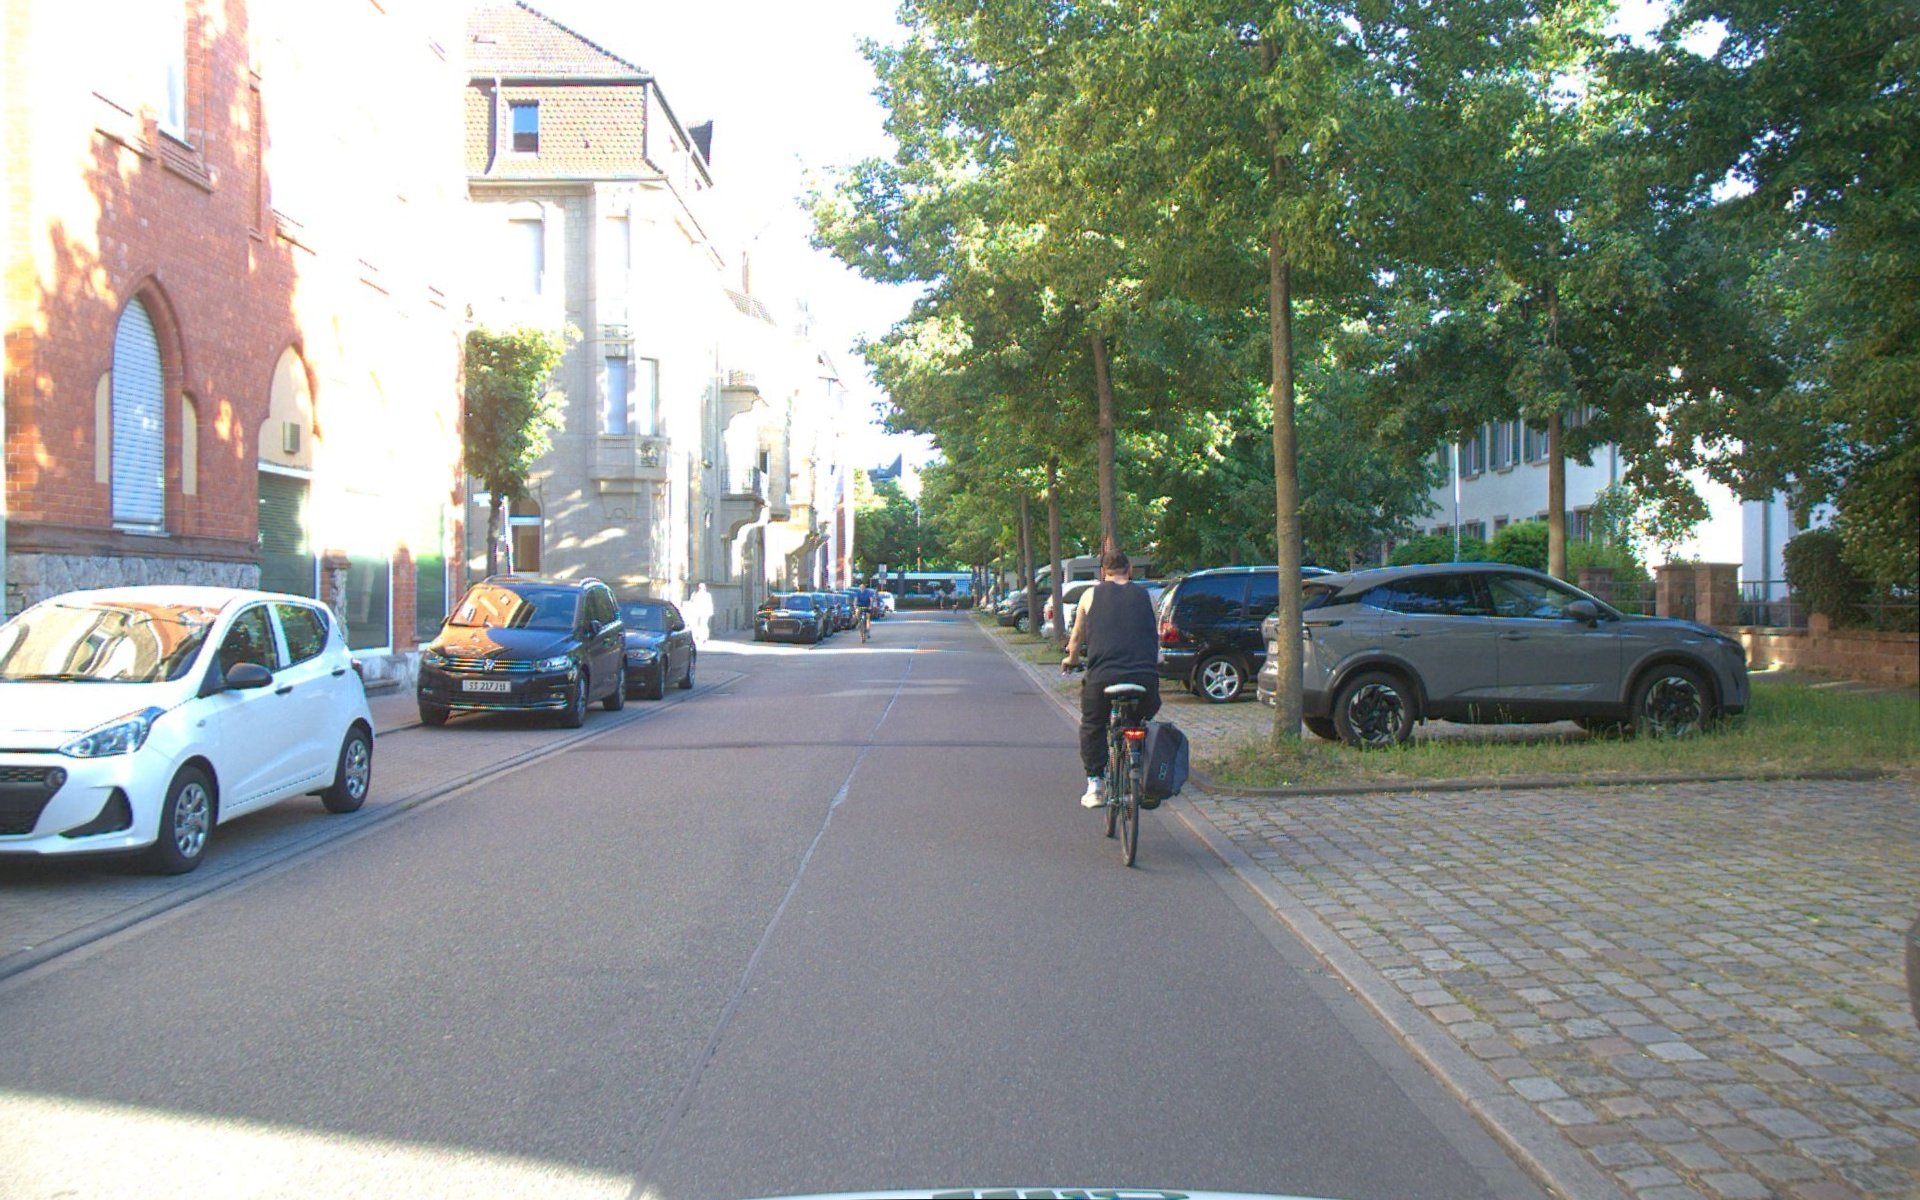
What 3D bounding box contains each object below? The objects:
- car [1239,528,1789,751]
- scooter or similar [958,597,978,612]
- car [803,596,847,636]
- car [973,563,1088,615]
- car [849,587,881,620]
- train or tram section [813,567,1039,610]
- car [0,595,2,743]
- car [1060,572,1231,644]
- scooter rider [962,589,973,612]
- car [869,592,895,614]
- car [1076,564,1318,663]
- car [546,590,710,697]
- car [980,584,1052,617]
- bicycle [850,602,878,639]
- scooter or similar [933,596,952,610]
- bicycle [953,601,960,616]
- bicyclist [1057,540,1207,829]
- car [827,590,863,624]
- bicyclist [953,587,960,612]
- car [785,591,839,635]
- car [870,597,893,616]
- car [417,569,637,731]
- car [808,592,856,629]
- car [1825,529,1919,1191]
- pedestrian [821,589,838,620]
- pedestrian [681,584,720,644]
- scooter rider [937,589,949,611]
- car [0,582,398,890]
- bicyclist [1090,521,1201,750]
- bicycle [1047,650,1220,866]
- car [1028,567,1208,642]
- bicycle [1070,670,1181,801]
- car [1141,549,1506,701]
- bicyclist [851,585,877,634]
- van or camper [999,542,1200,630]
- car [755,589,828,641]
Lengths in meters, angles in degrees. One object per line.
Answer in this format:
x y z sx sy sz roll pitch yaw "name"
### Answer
4.992 0.331 15.327 4.386 1.662 1.875 -4 0 -2 "car"
0.690 0.374 135.646 1.568 1.167 0.677 1 -1 -6 "scooter or similar"
-5.249 0.607 64.711 1.596 1.478 3.836 1 0 -3 "car"
4.435 -0.691 104.930 7.005 3.030 2.463 -2 0 -3 "car"
-5.695 0.209 99.511 1.654 1.857 4.272 2 1 0 "car"
-3.323 -1.116 170.678 23.482 3.773 4.255 1 -1 -23 "train or tram section"
-4.757 0.721 4.796 1.643 1.468 4.110 1 1 -2 "car"
4.539 0.182 40.825 3.985 1.502 1.694 -4 1 0 "car"
0.626 0.026 135.649 0.854 1.873 0.670 1 -1 -5 "scooter rider"
-5.211 0.201 110.678 1.551 1.367 4.131 2 1 0 "car"
4.733 0.260 33.371 4.453 1.662 1.810 -4 0 -7 "car"
-4.961 0.611 25.248 1.602 1.435 4.332 2 0 0 "car"
3.290 0.040 97.600 4.001 1.678 1.640 -3 0 -3 "car"
-2.929 0.624 50.690 0.742 1.127 1.907 -1 -1 -1 "bicycle"
-1.485 0.239 138.588 1.568 1.167 0.677 1 -1 -6 "scooter or similar"
-0.268 0.607 119.721 0.488 1.022 1.474 0 2 -1 "bicycle"
0.973 0.472 9.556 0.715 1.575 0.884 2 -1 -2 "bicyclist"
-5.505 0.308 79.511 1.563 1.514 2.735 3 1 -2 "car"
-0.273 -0.010 119.706 0.476 1.775 0.655 1 -1 -1 "bicyclist"
-5.123 0.452 57.624 1.662 1.479 4.026 0 -1 -2 "car"
-6.086 0.487 128.235 1.551 1.399 4.131 2 1 0 "car"
-5.031 0.543 19.784 1.636 1.710 4.348 1 0 -2 "car"
-5.430 0.415 70.517 1.641 1.455 4.550 2 1 0 "car"
4.621 0.469 3.337 4.741 1.566 1.893 -4 0 -3 "car"
-7.669 0.263 97.441 0.919 1.773 0.735 1 -1 1 "pedestrian"
-7.182 0.379 45.867 0.870 1.604 1.053 -2 1 -1 "pedestrian"
-1.430 0.012 138.593 0.854 1.873 0.670 1 -1 -5 "scooter rider"
-4.788 0.650 9.924 1.534 1.496 3.592 1 1 1 "car"
1.388 0.255 12.528 0.675 1.655 0.998 1 0 -2 "bicyclist"
0.962 0.855 9.625 0.722 1.072 1.955 2 -1 -2 "bicycle"
4.104 0.120 43.541 4.524 1.739 1.833 -2 0 1 "car"
1.217 0.984 12.446 0.620 0.813 1.832 -1 0 -1 "bicycle"
4.837 0.320 22.514 4.487 1.706 1.907 -4 0 1 "car"
-2.937 0.285 50.616 0.744 1.479 0.948 -1 -1 -1 "bicyclist"
4.981 -0.521 60.122 7.000 2.693 2.465 -4 0 1 "van or camper"
-5.156 0.450 51.168 1.774 1.451 4.897 2 0 -1 "car"
